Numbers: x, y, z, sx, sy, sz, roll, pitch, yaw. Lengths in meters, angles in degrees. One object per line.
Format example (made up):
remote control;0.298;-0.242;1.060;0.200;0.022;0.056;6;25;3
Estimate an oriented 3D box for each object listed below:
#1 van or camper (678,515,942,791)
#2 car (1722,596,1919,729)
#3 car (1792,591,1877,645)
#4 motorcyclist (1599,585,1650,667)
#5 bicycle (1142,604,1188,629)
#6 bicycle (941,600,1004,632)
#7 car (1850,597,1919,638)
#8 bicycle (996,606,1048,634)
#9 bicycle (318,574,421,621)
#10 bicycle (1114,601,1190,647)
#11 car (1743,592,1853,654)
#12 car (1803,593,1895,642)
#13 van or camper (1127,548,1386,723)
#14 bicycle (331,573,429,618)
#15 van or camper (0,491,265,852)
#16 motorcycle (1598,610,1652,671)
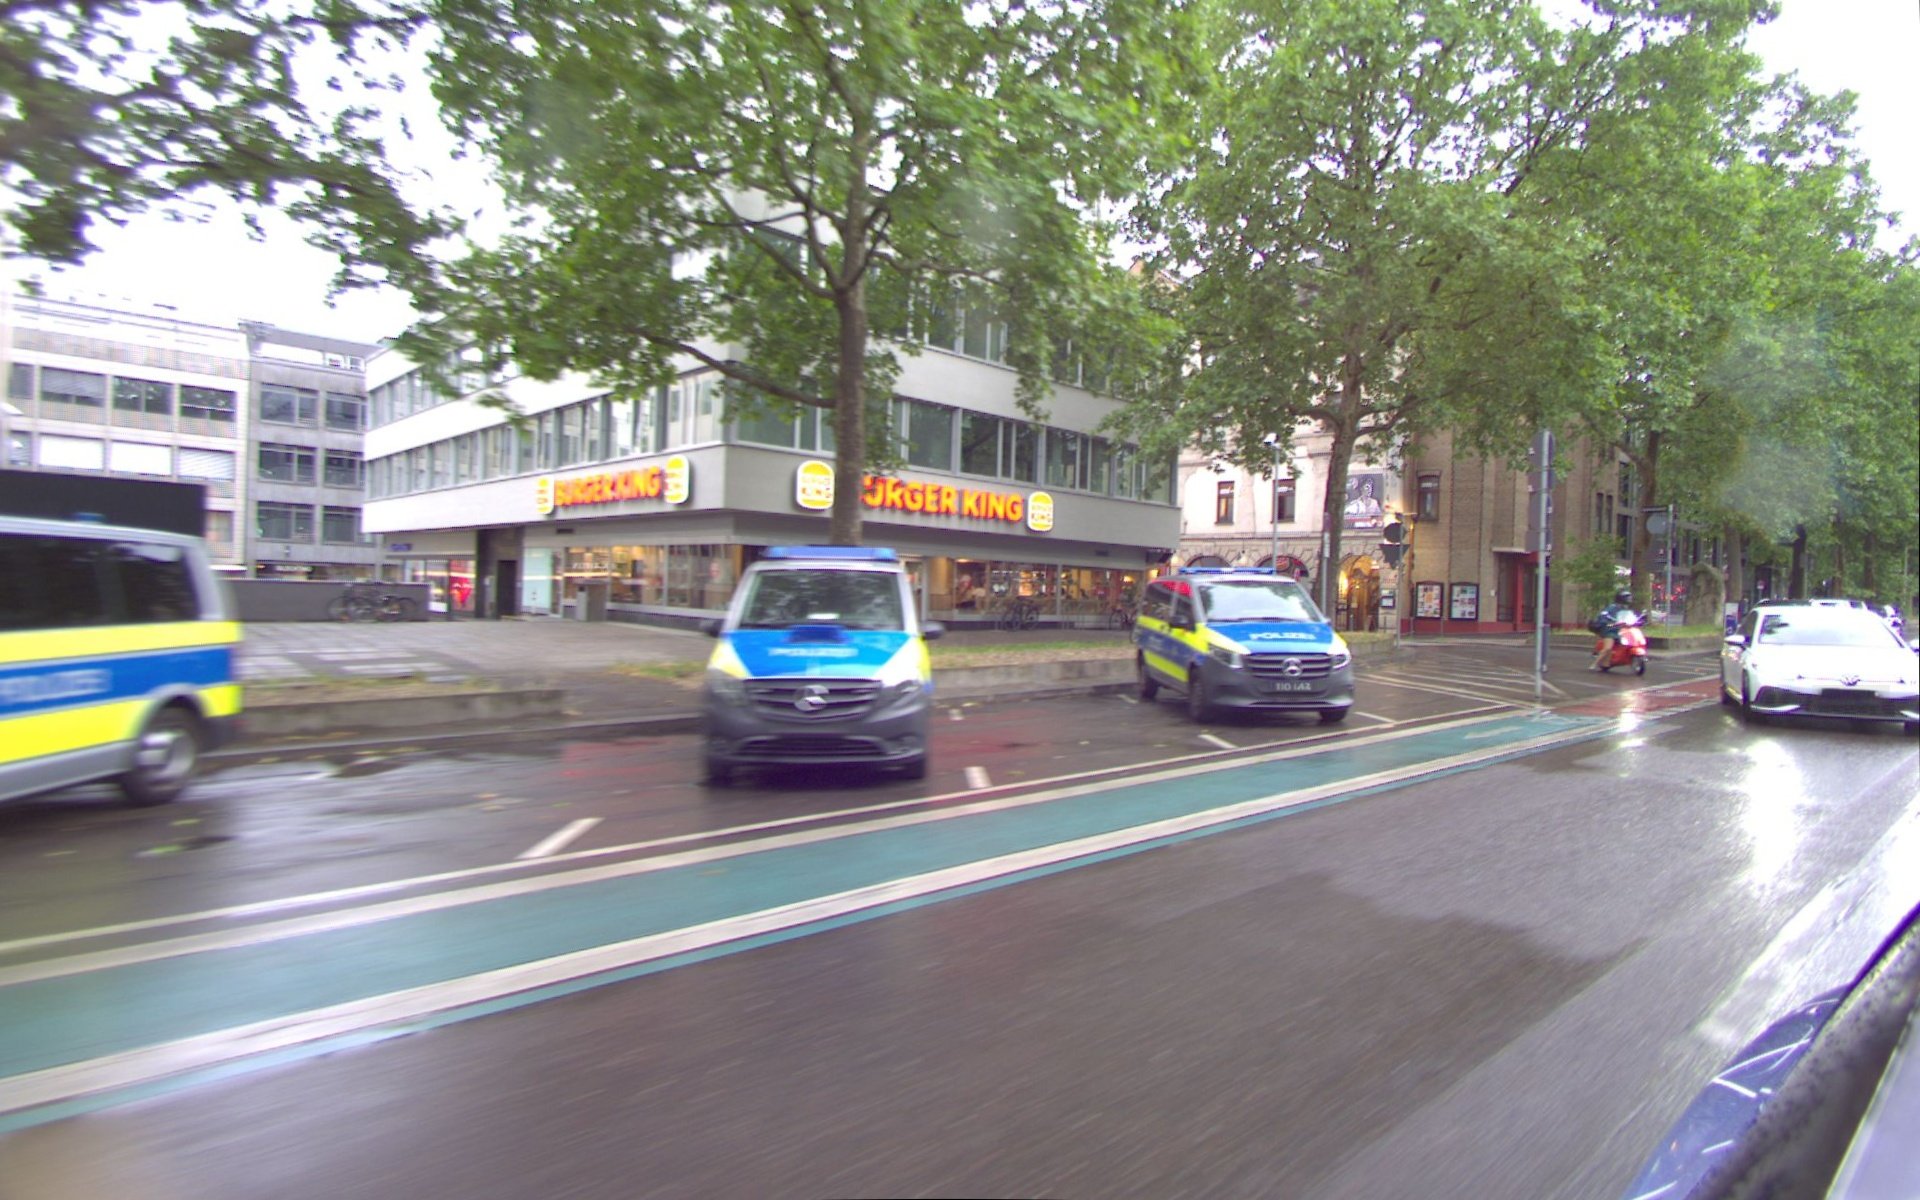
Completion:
van or camper;-1.291;0.394;10.105;1.957;2.045;5.092;0;0;-4
car;11.441;0.686;13.350;1.854;1.463;4.456;0;0;33
car;27.937;0.545;32.285;1.752;1.605;4.339;0;0;45
motorcyclist;13.823;0.515;21.069;0.842;1.665;0.862;0;0;32
bicycle;8.351;0.661;41.307;0.613;0.949;1.972;0;0;-36
bicycle;0.386;0.454;29.863;0.583;0.907;2.043;1;1;45
car;35.765;0.628;38.884;4.505;1.451;1.746;0;0;-40
bicycle;1.988;0.632;32.026;0.640;0.829;1.885;1;1;41
bicycle;-15.397;-0.076;26.438;2.247;1.187;0.687;0;1;-41
bicycle;5.262;0.666;27.698;1.876;0.928;0.648;5;23;-33
car;23.863;0.608;28.767;4.348;1.623;1.795;0;0;-42
car;31.283;0.575;35.567;4.483;1.609;1.996;0;0;-43
van or camper;3.848;0.392;14.185;1.963;2.017;4.950;0;0;-3
bicycle;-16.015;-0.128;27.989;2.249;1.188;0.687;0;0;-44
van or camper;-6.280;0.396;5.565;1.831;2.023;4.859;0;1;-4
motorcycle;13.828;0.809;21.078;0.862;1.157;1.999;0;0;32
